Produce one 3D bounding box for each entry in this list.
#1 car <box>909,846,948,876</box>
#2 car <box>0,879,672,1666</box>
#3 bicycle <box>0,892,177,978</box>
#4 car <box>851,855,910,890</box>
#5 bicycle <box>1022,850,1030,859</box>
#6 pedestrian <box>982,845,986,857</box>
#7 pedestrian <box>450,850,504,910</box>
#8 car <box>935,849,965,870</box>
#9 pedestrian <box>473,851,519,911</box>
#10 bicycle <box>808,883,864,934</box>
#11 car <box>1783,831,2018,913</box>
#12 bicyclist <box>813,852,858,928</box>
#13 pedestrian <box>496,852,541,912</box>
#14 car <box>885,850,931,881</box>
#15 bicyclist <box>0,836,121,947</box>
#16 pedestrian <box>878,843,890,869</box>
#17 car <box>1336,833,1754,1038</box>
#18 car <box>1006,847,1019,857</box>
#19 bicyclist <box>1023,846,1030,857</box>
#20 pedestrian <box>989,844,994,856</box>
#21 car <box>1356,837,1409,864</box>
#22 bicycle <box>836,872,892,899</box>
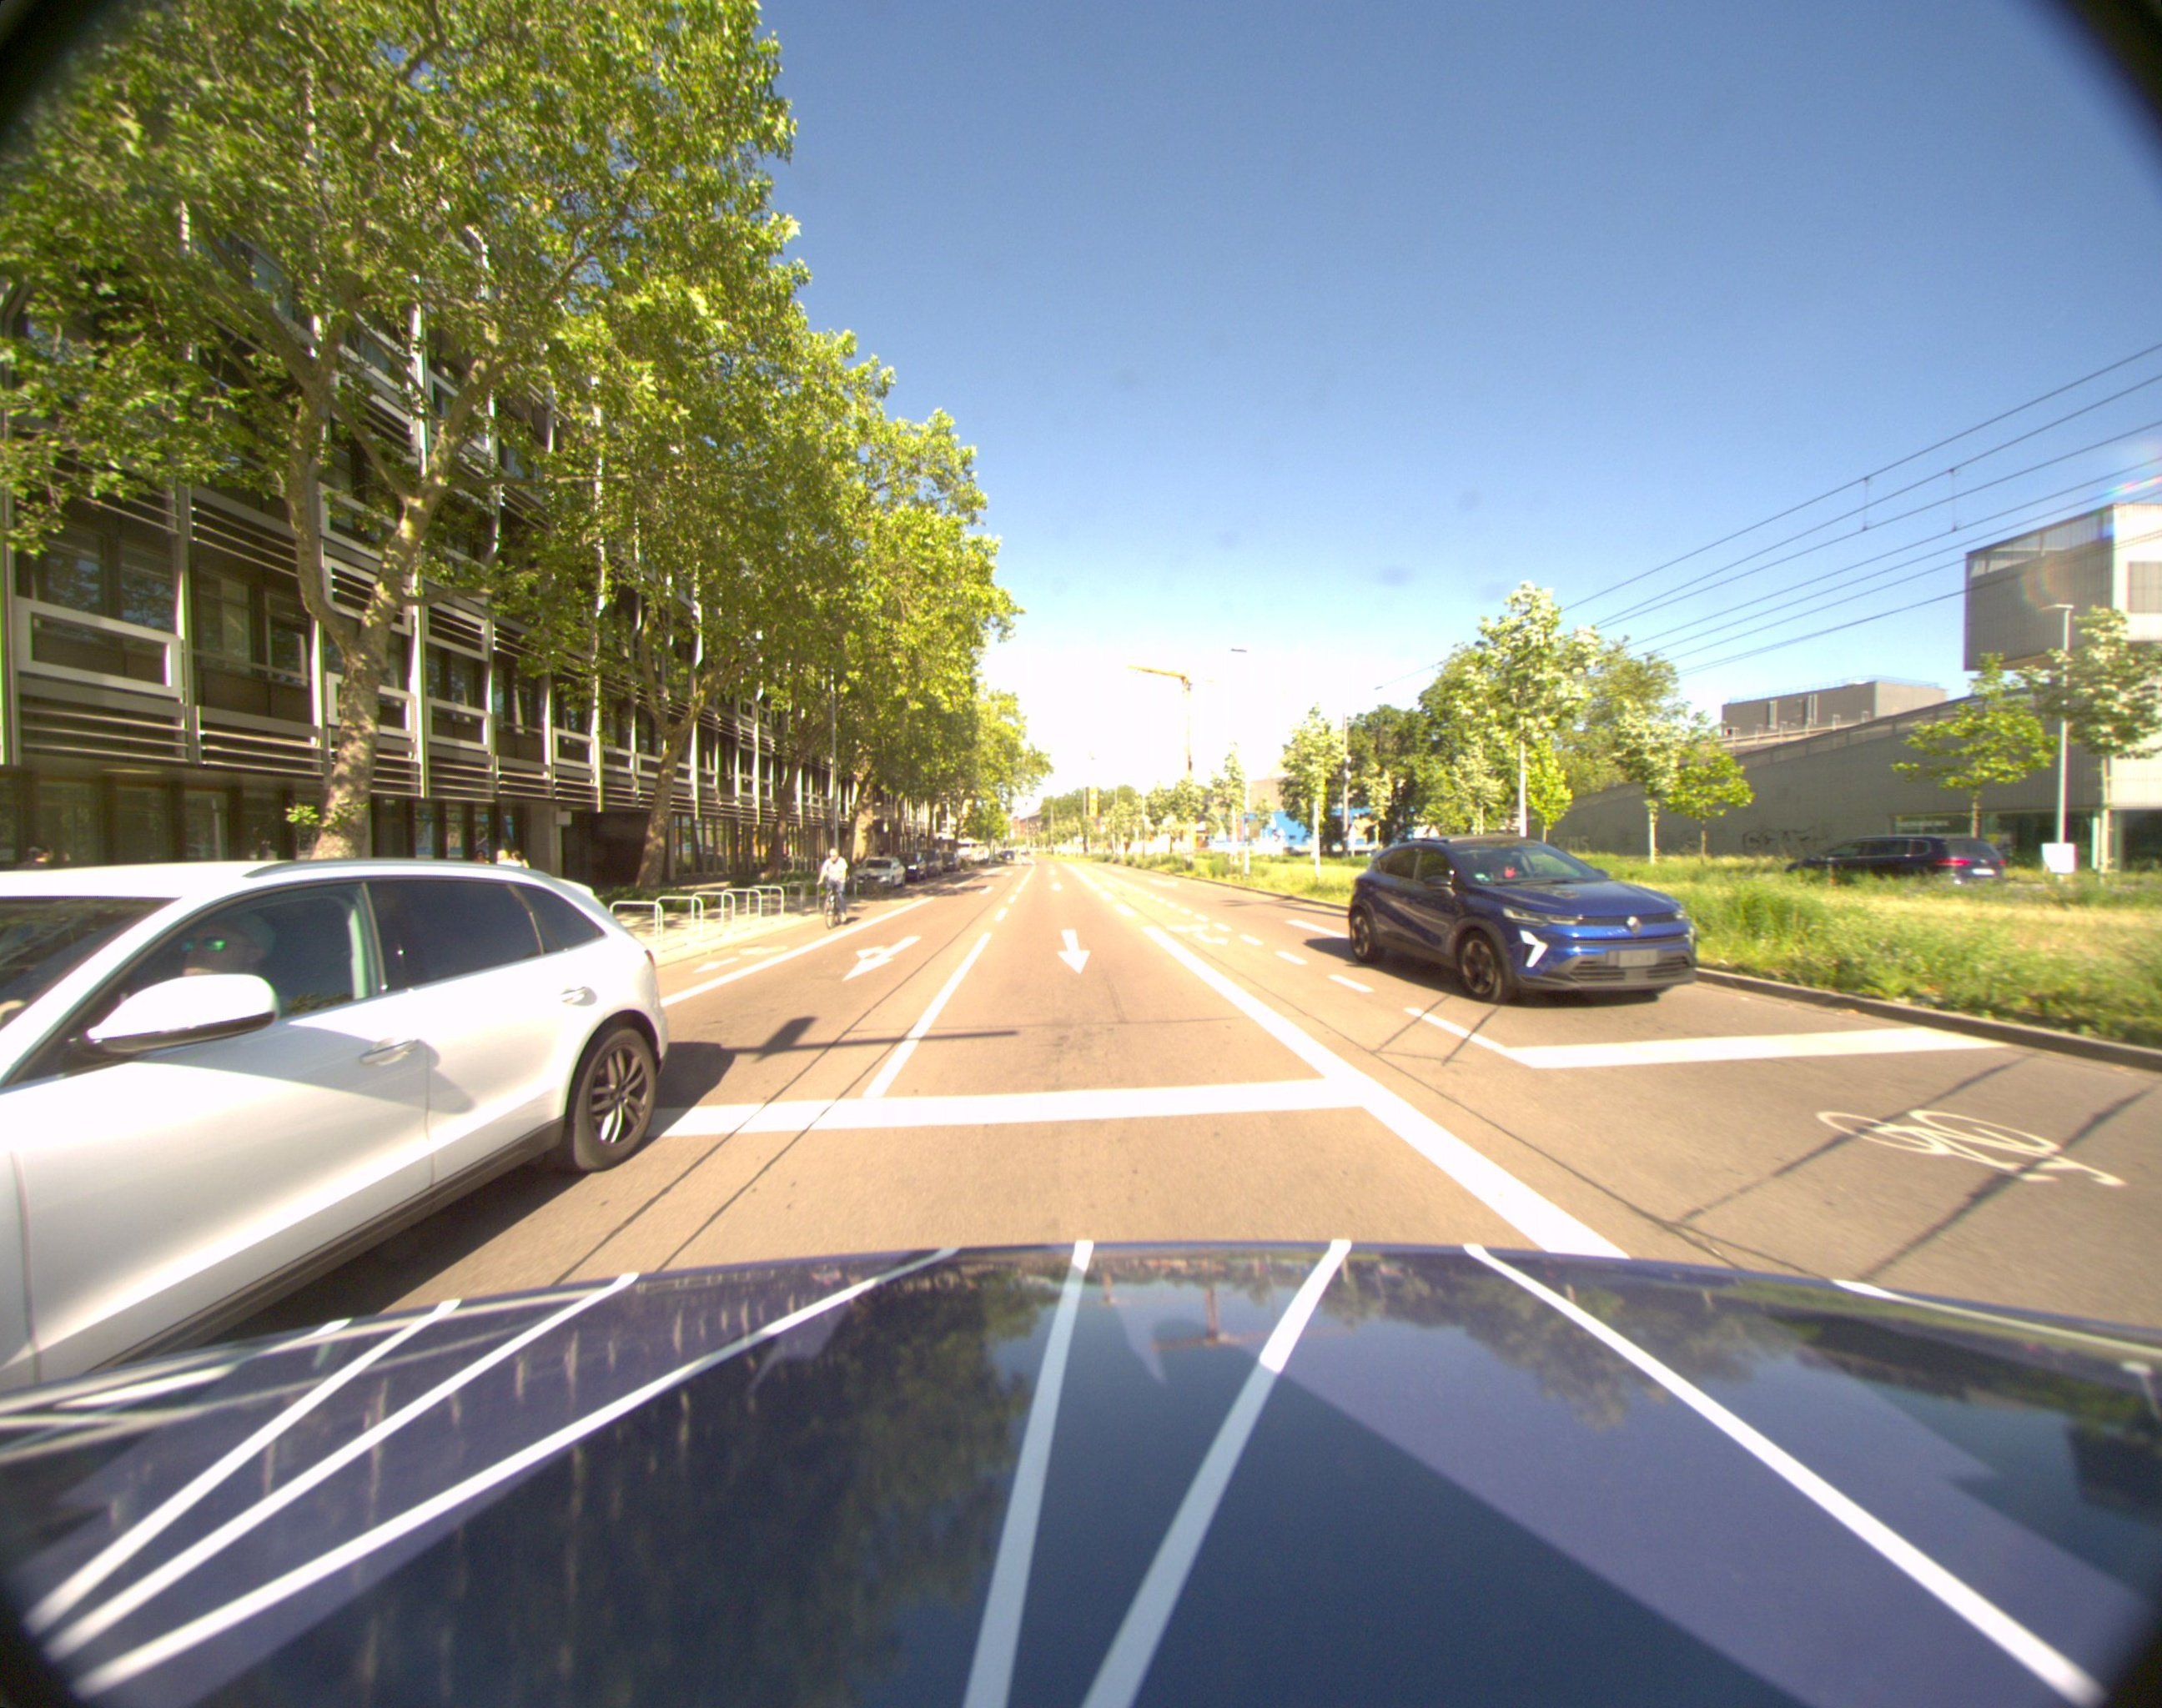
[{"bbox_3d":[-9.657,0.405,48.301,1.753,1.811,4.335,0,1,-3],"label":"car"},{"bbox_3d":[-3.312,0.990,2.285,1.824,1.604,4.411,-1,1,-2],"label":"car"},{"bbox_3d":[-14.310,1.090,10.637,0.883,0.979,2.050,-1,1,-3],"label":"bicycle"},{"bbox_3d":[-9.358,0.842,35.863,1.753,1.481,4.558,0,1,-3],"label":"car"},{"bbox_3d":[-6.837,0.095,95.004,0.845,1.123,2.552,-1,1,-2],"label":"bicycle"},{"bbox_3d":[-14.821,-0.500,116.091,0.591,1.830,0.569,-1,1,-3],"label":"pedestrian"},{"bbox_3d":[-16.545,0.685,20.826,0.668,1.591,1.009,1,1,-2],"label":"pedestrian"},{"bbox_3d":[-10.246,0.395,59.691,1.753,1.545,4.335,0,1,-3],"label":"car"},{"bbox_3d":[-16.005,0.737,20.793,0.668,1.591,0.728,1,1,0],"label":"pedestrian"},{"bbox_3d":[-5.611,1.216,17.498,0.711,0.987,1.923,-3,1,-4],"label":"bicycle"},{"bbox_3d":[21.534,0.409,20.255,1.875,1.944,3.998,-1,1,-2],"label":"car"},{"bbox_3d":[-5.636,0.802,17.504,0.711,1.678,0.852,-3,1,-4],"label":"bicyclist"},{"bbox_3d":[-15.299,0.753,20.692,0.668,1.591,0.727,1,1,-2],"label":"pedestrian"},{"bbox_3d":[-9.622,0.613,42.534,1.753,1.624,4.335,0,1,-3],"label":"car"},{"bbox_3d":[-14.304,0.498,10.502,0.883,1.468,0.883,-1,1,-3],"label":"bicyclist"},{"bbox_3d":[-15.258,0.156,58.758,0.741,2.002,0.625,-1,1,-2],"label":"pedestrian"},{"bbox_3d":[4.483,0.629,8.214,1.775,1.579,4.086,-3,1,-4],"label":"car"},{"bbox_3d":[-11.007,-0.304,122.725,1.999,1.598,3.894,-1,1,-4],"label":"car"},{"bbox_3d":[-6.836,-0.330,94.999,0.830,1.380,0.903,-1,1,-2],"label":"bicyclist"},{"bbox_3d":[-13.201,-0.593,111.784,0.591,1.830,0.569,-1,1,-3],"label":"pedestrian"},{"bbox_3d":[19.719,-0.229,49.902,1.830,1.679,4.091,-1,1,0],"label":"car"},{"bbox_3d":[-7.926,1.148,27.783,1.849,0.955,0.711,1,1,-7],"label":"bicycle"}]
